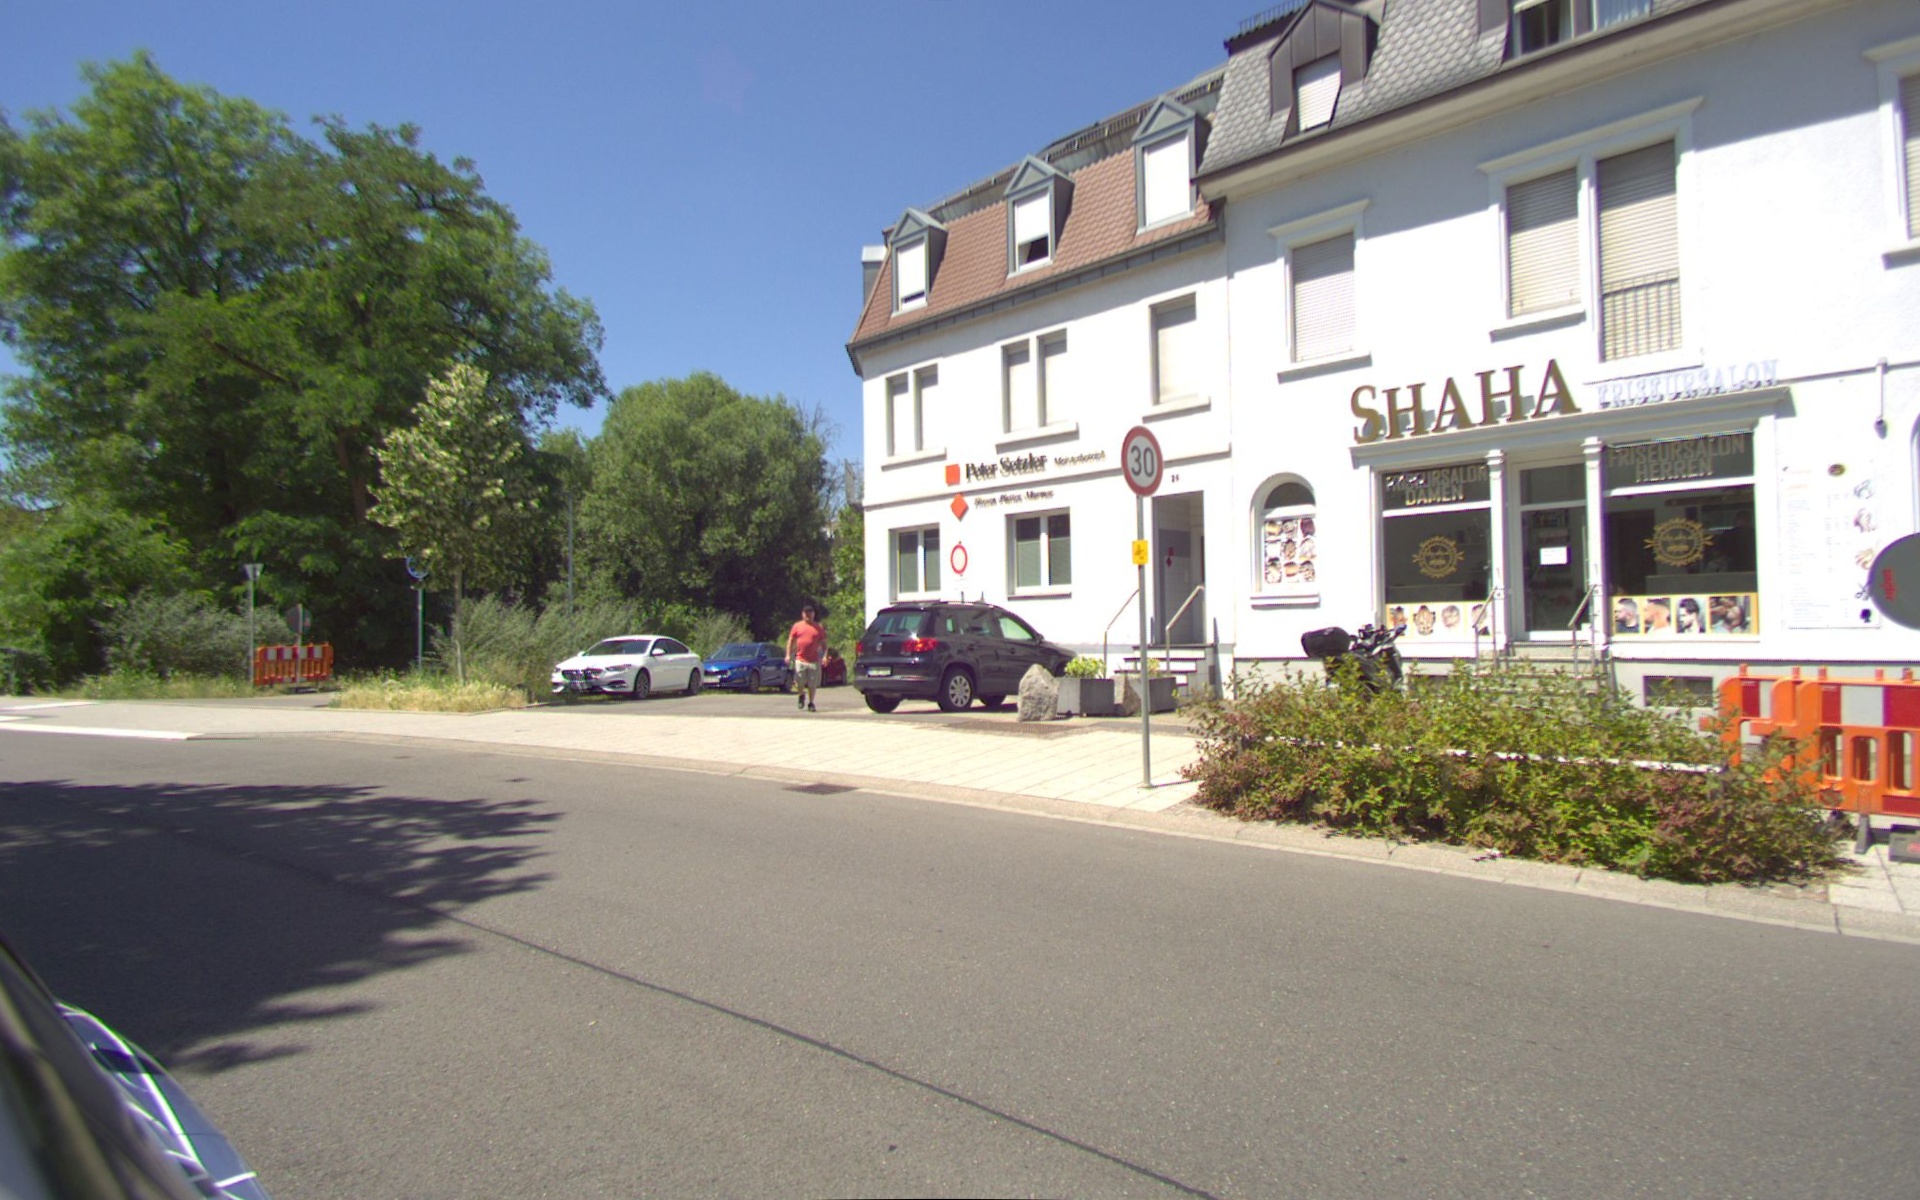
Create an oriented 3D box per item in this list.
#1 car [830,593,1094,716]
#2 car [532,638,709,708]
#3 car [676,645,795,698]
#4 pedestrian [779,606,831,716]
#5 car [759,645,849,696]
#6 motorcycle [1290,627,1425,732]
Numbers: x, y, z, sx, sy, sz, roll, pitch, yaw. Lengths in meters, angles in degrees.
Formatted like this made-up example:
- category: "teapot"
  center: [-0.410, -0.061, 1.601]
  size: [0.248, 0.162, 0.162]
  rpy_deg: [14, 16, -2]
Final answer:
- category: "car"
  center: [0.143, 0.796, 16.042]
  size: [1.970, 1.675, 4.136]
  rpy_deg: [-2, -2, 41]
- category: "car"
  center: [-7.429, 1.555, 22.743]
  size: [1.976, 1.367, 4.699]
  rpy_deg: [-1, -2, 7]
- category: "car"
  center: [-6.295, 2.024, 28.814]
  size: [1.977, 1.355, 3.988]
  rpy_deg: [1, -4, 9]
- category: "pedestrian"
  center: [-2.532, 0.990, 16.587]
  size: [0.729, 1.768, 0.737]
  rpy_deg: [0, -2, 2]
- category: "car"
  center: [-5.327, 2.396, 35.043]
  size: [1.977, 1.554, 3.989]
  rpy_deg: [-1, -2, 9]
- category: "motorcycle"
  center: [5.239, 0.976, 13.246]
  size: [0.833, 1.227, 2.368]
  rpy_deg: [-1, -1, 43]
